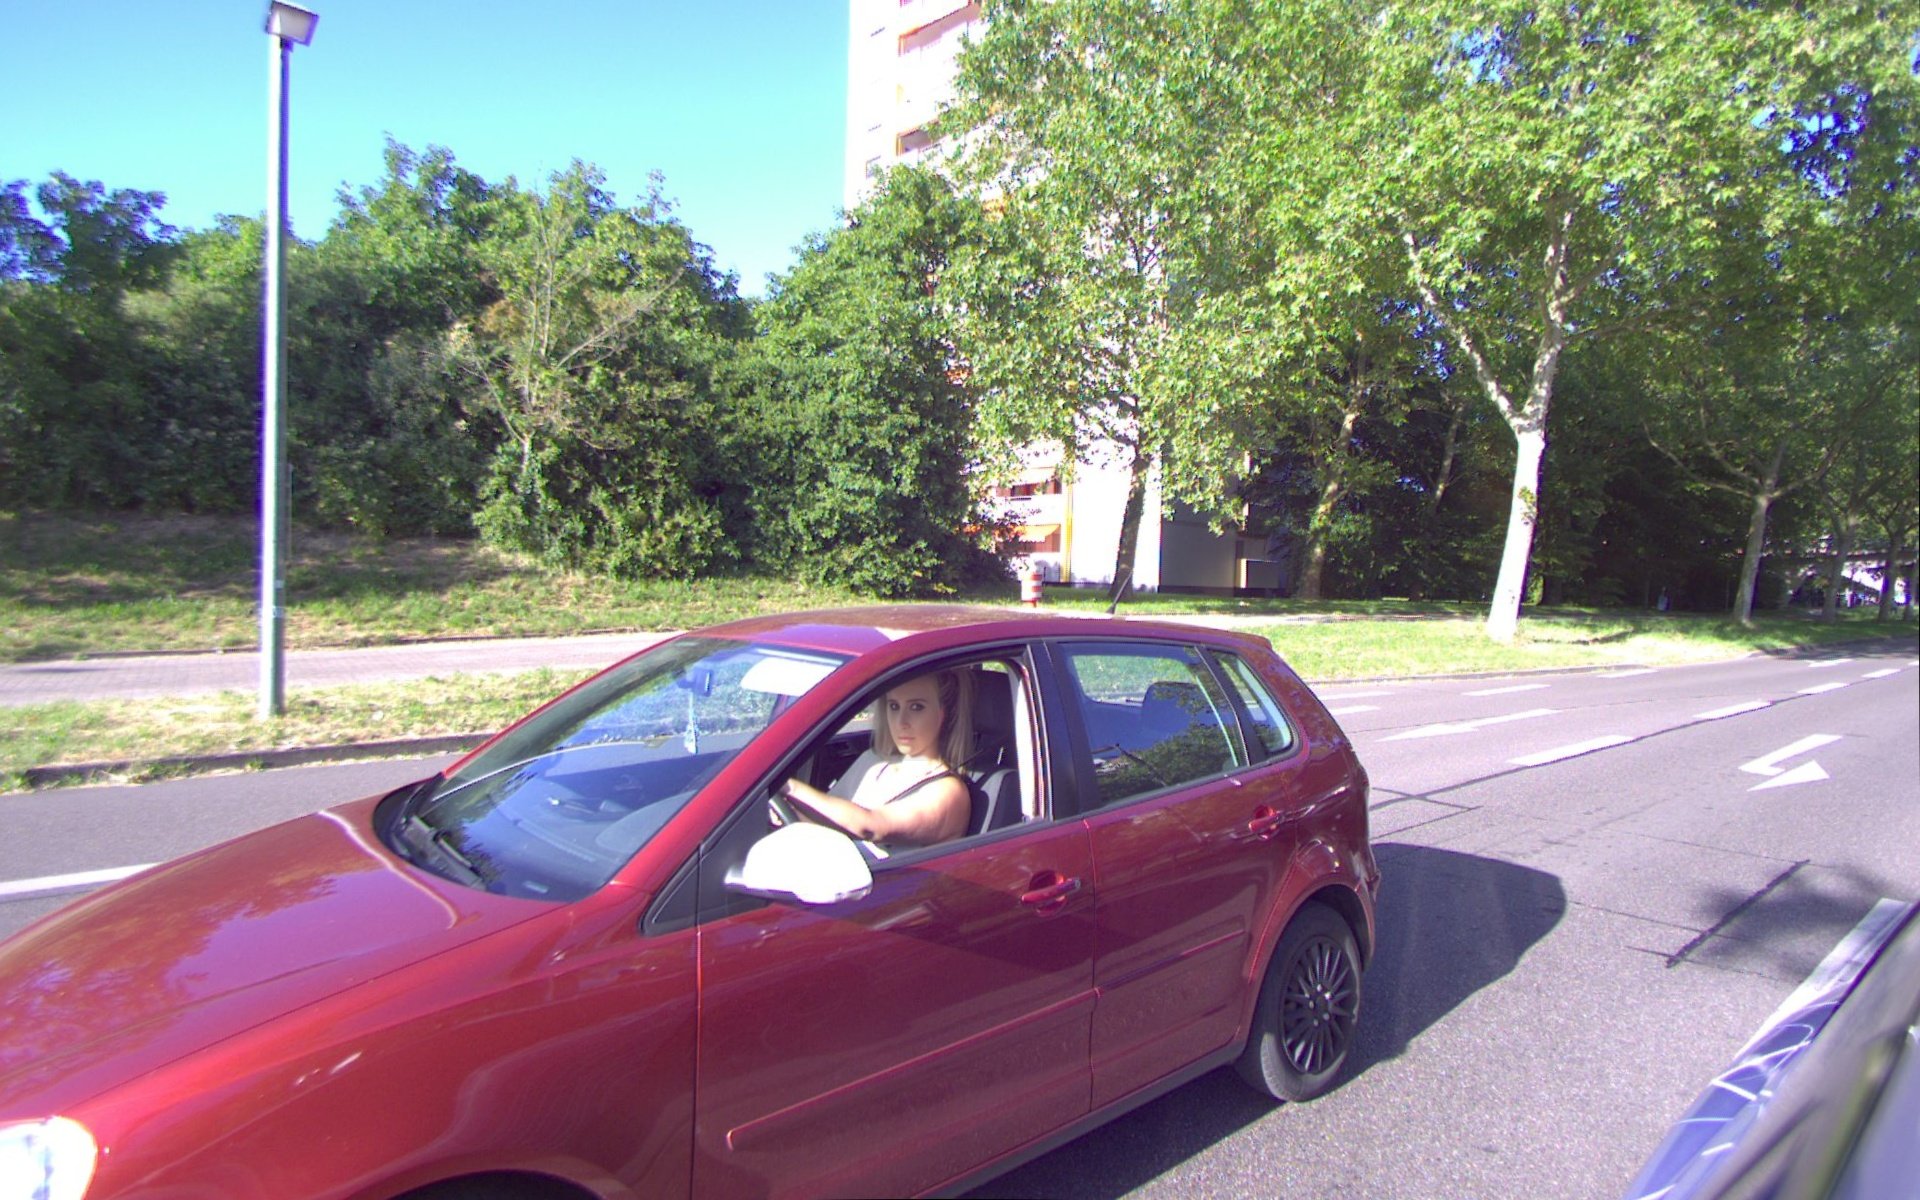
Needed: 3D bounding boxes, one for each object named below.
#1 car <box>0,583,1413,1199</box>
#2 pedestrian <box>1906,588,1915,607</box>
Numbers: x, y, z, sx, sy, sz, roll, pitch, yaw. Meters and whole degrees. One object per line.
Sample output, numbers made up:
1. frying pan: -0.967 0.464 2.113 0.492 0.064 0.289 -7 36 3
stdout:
1. car: -0.465 0.693 2.759 3.627 1.434 1.626 0 1 -39
2. pedestrian: 75.408 -0.191 80.282 0.409 1.481 0.399 0 1 -33
